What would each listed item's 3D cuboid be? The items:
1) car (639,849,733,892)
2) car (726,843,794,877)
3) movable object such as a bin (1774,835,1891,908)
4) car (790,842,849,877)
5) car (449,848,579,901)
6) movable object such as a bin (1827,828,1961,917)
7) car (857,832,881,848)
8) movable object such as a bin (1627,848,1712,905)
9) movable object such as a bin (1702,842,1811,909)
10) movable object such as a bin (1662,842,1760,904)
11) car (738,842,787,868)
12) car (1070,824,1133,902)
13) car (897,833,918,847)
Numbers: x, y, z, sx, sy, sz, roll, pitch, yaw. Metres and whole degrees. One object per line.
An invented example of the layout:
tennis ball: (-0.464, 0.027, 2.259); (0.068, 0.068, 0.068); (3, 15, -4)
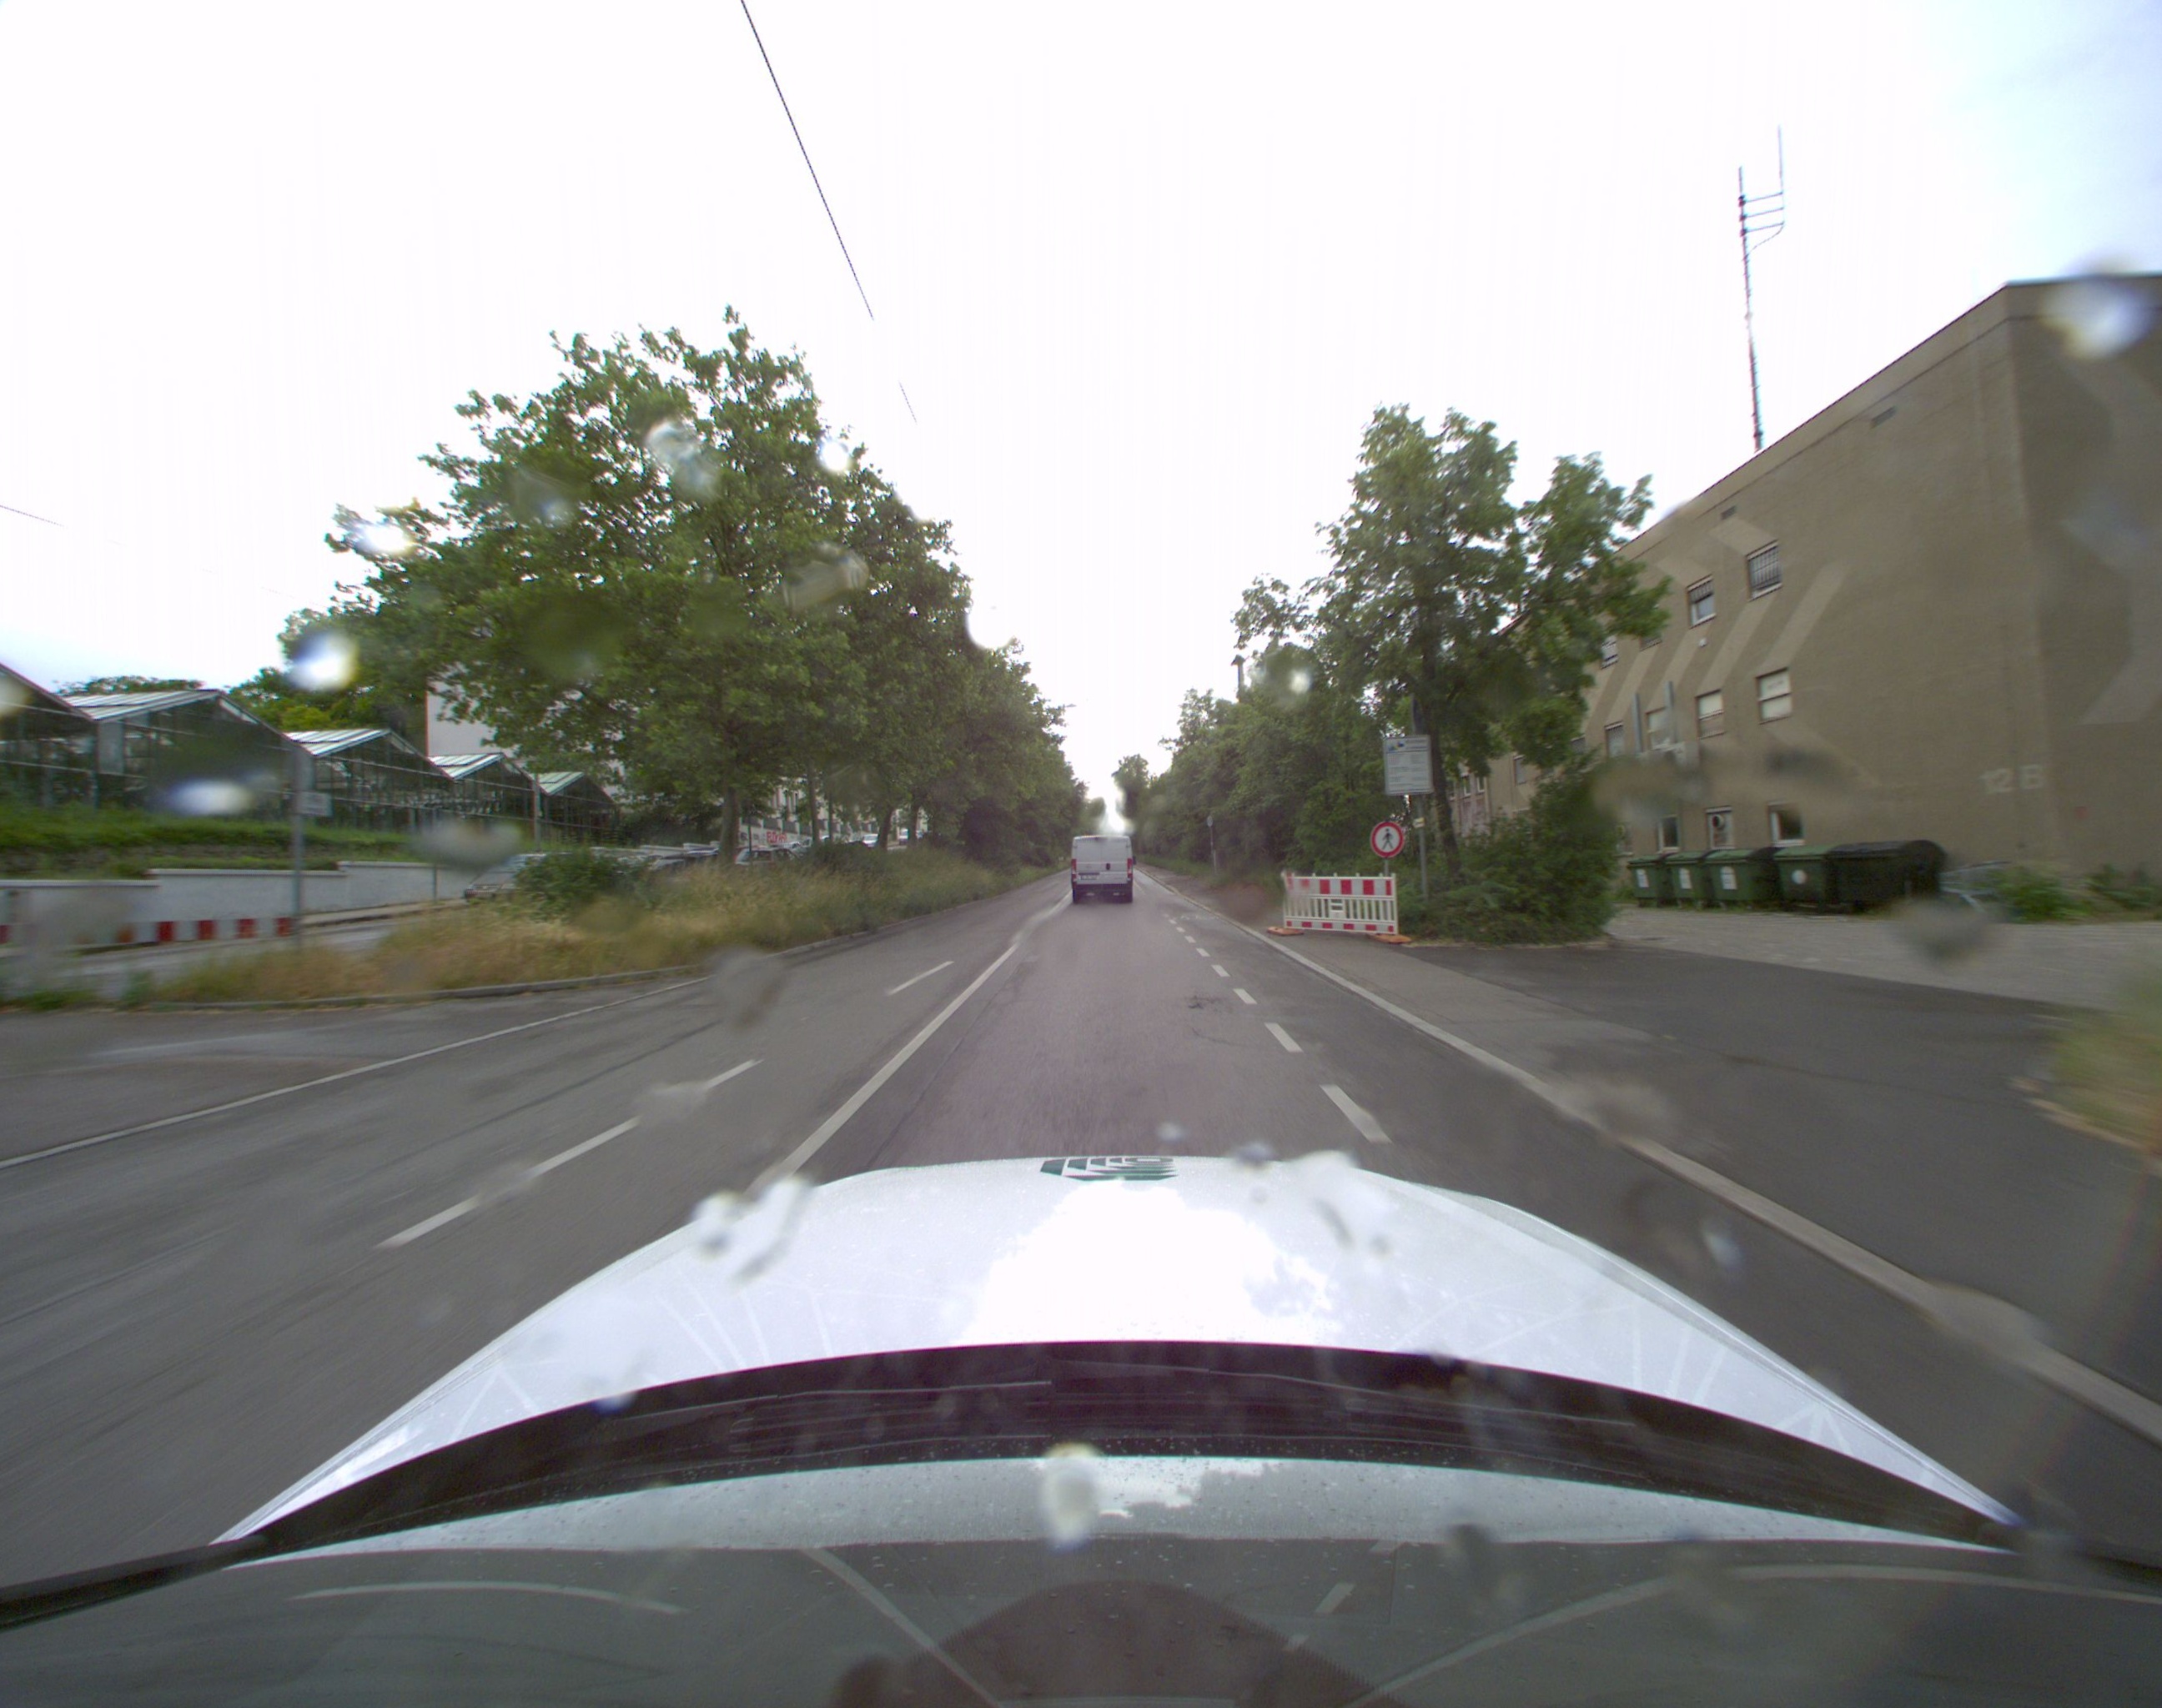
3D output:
car: (-11.465, 0.492, 23.799); (1.346, 1.131, 2.752); (-3, -2, 0)
car: (-11.571, 0.238, 29.524); (1.346, 1.096, 2.752); (-3, -2, 0)
movable object such as a bin: (15.815, 0.345, 17.196); (1.207, 1.416, 1.333); (-3, 0, 4)
car: (-11.381, 0.278, 35.576); (1.430, 1.361, 3.175); (-3, -2, 1)
car: (-17.908, 0.663, 25.917); (1.644, 1.487, 3.516); (-3, -2, 0)
movable object such as a bin: (15.714, 0.336, 15.791); (1.207, 1.586, 1.333); (-3, 0, 4)
car: (-17.999, -1.174, 69.215); (1.209, 1.133, 2.453); (-3, -2, 2)
movable object such as a bin: (15.740, 0.575, 21.839); (1.266, 1.416, 1.358); (-3, 0, 4)
movable object such as a bin: (15.488, 0.467, 18.722); (1.299, 1.416, 1.420); (-3, 0, 4)
movable object such as a bin: (15.611, 0.451, 20.232); (1.299, 1.416, 1.432); (-3, 0, 4)
car: (-17.747, 0.074, 45.436); (1.355, 1.310, 3.087); (-3, -2, 2)
car: (0.768, 0.270, 28.895); (2.042, 2.516, 4.946); (0, 1, 2)
car: (-18.211, -1.474, 85.429); (1.595, 1.250, 2.909); (-3, -2, -1)
